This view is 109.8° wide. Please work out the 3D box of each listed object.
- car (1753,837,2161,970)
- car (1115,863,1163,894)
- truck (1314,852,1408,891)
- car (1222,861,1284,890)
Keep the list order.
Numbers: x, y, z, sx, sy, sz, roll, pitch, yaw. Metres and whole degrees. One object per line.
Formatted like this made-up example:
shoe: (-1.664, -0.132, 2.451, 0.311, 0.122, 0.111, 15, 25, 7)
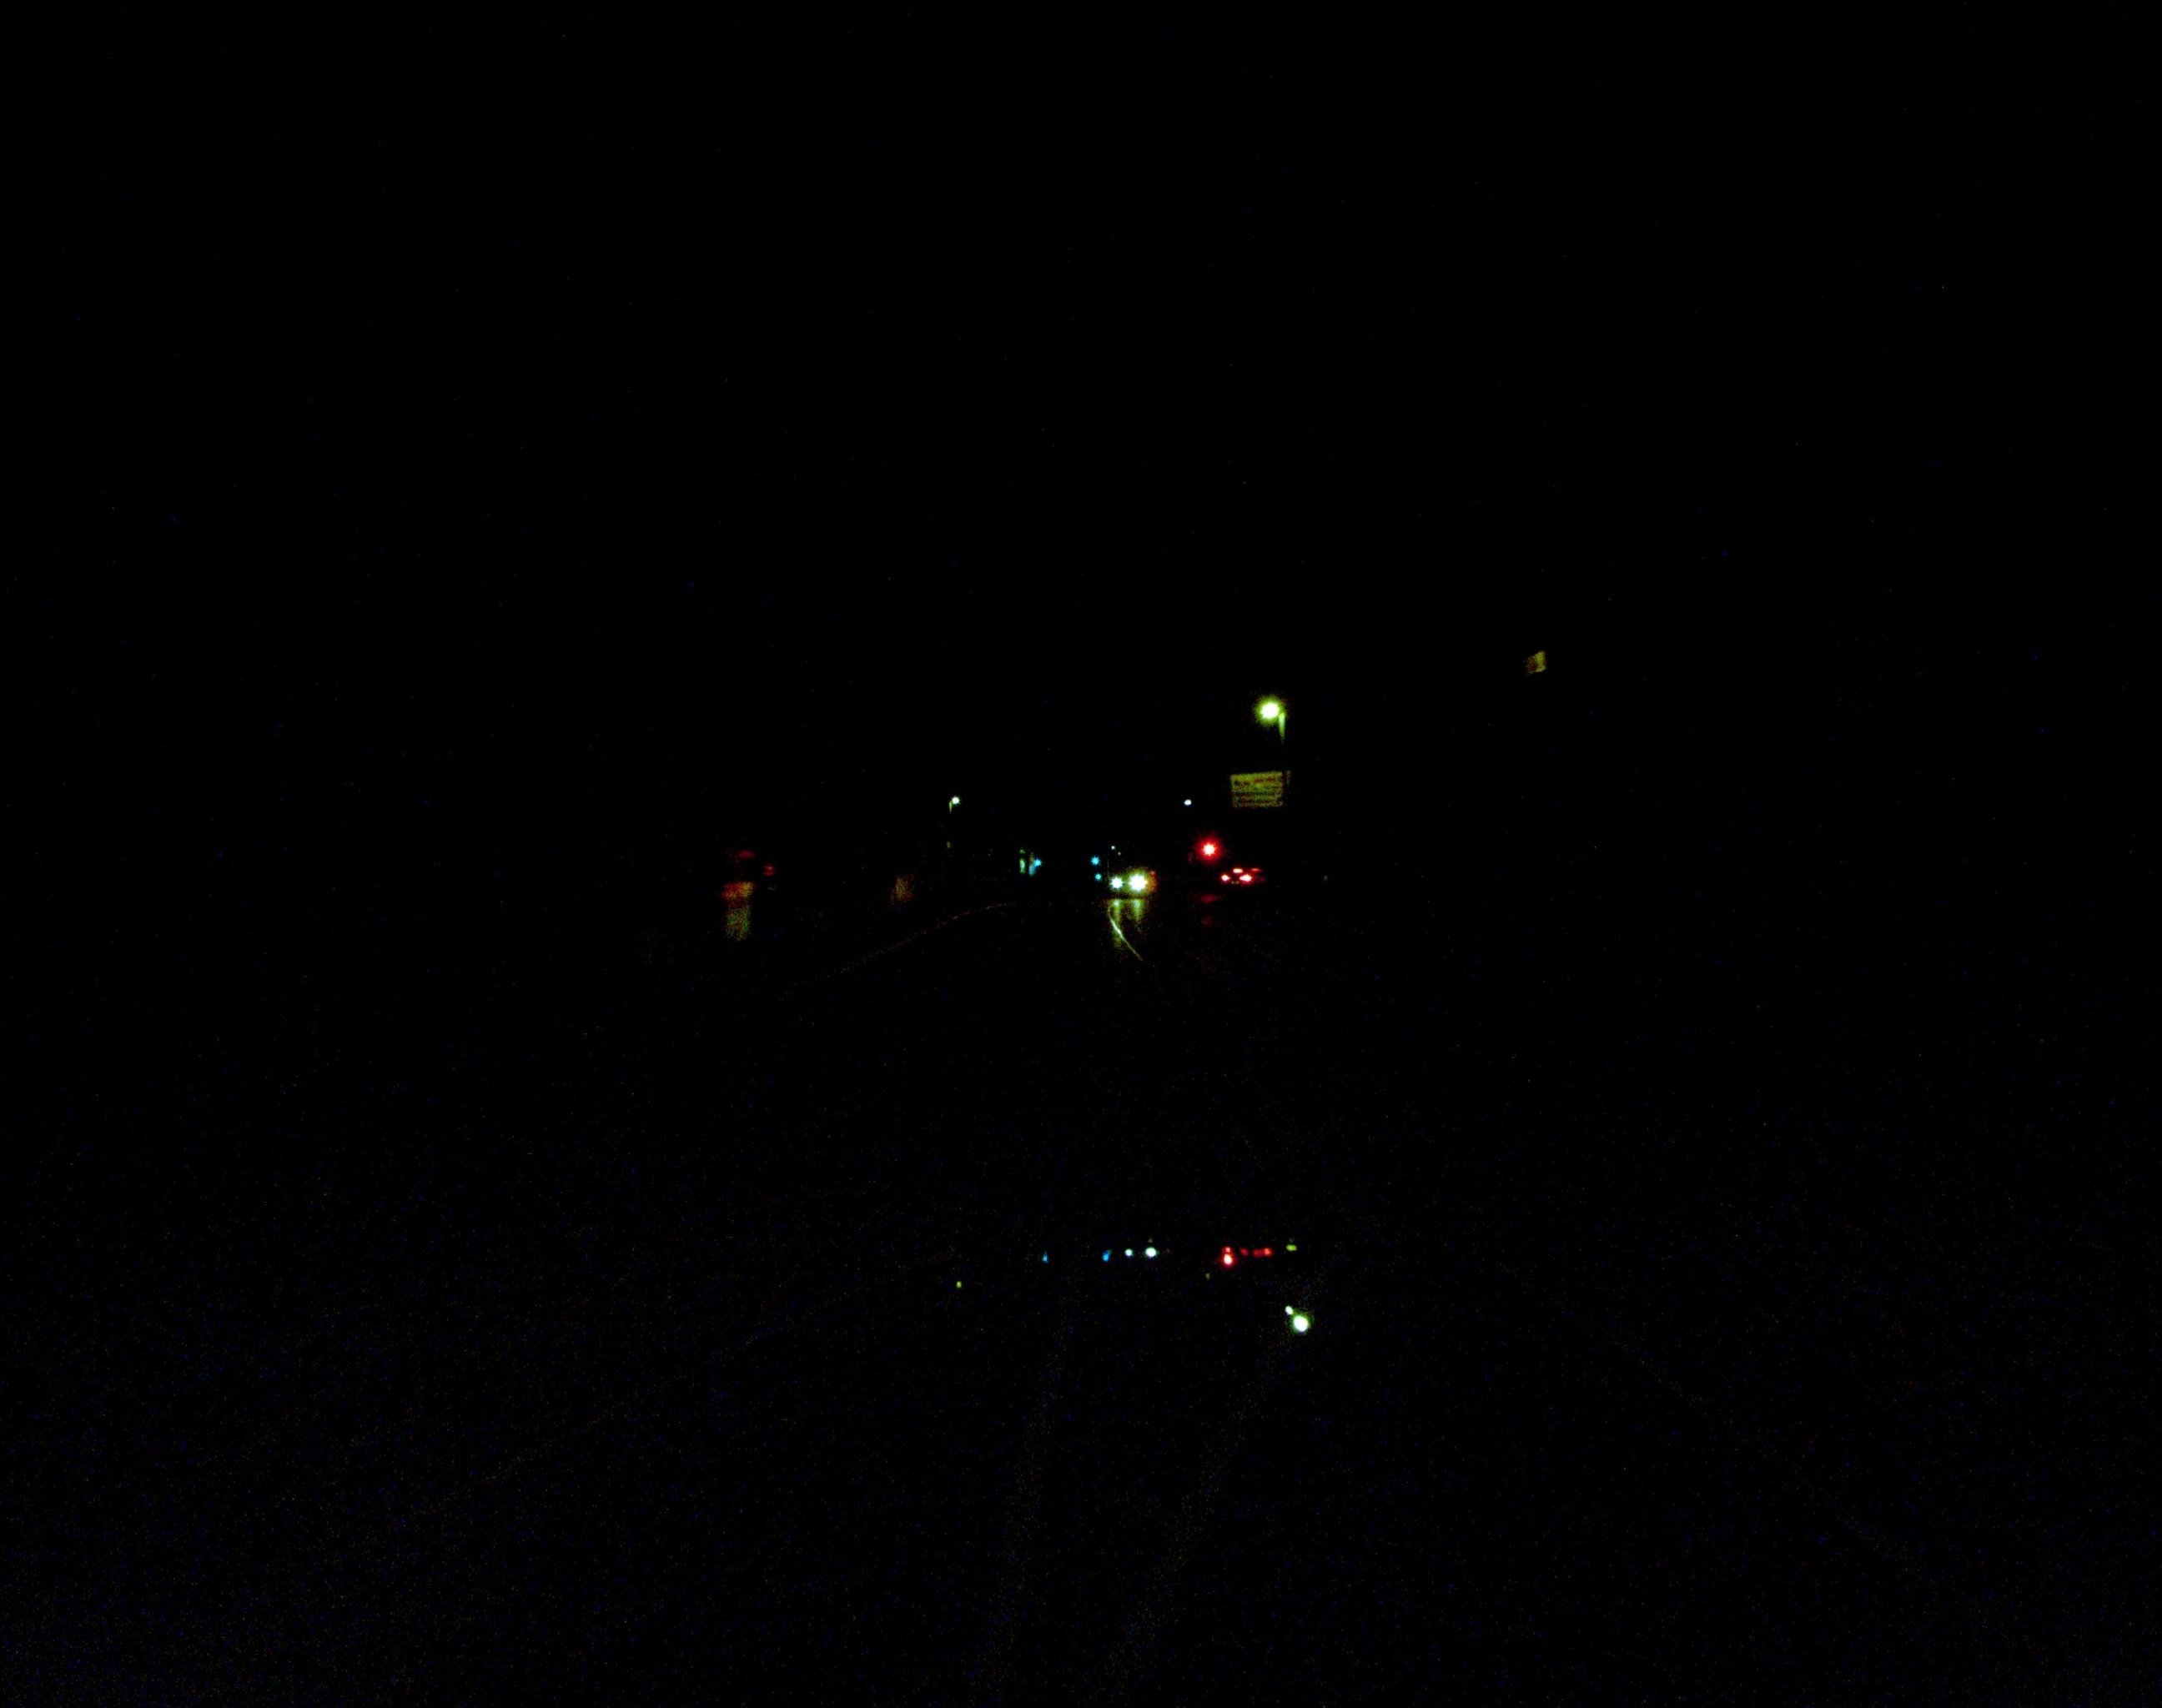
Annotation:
car: (11.868, 0.572, 10.455, 1.730, 1.450, 4.123, -1, -1, 3)
car: (2.930, 1.203, 37.854, 1.511, 1.492, 3.055, -1, -1, 22)
truck: (23.680, 1.421, 64.520, 2.778, 3.027, 7.015, -2, 2, -44)
car: (9.718, 1.170, 42.774, 1.726, 1.421, 4.298, -2, 0, 38)
